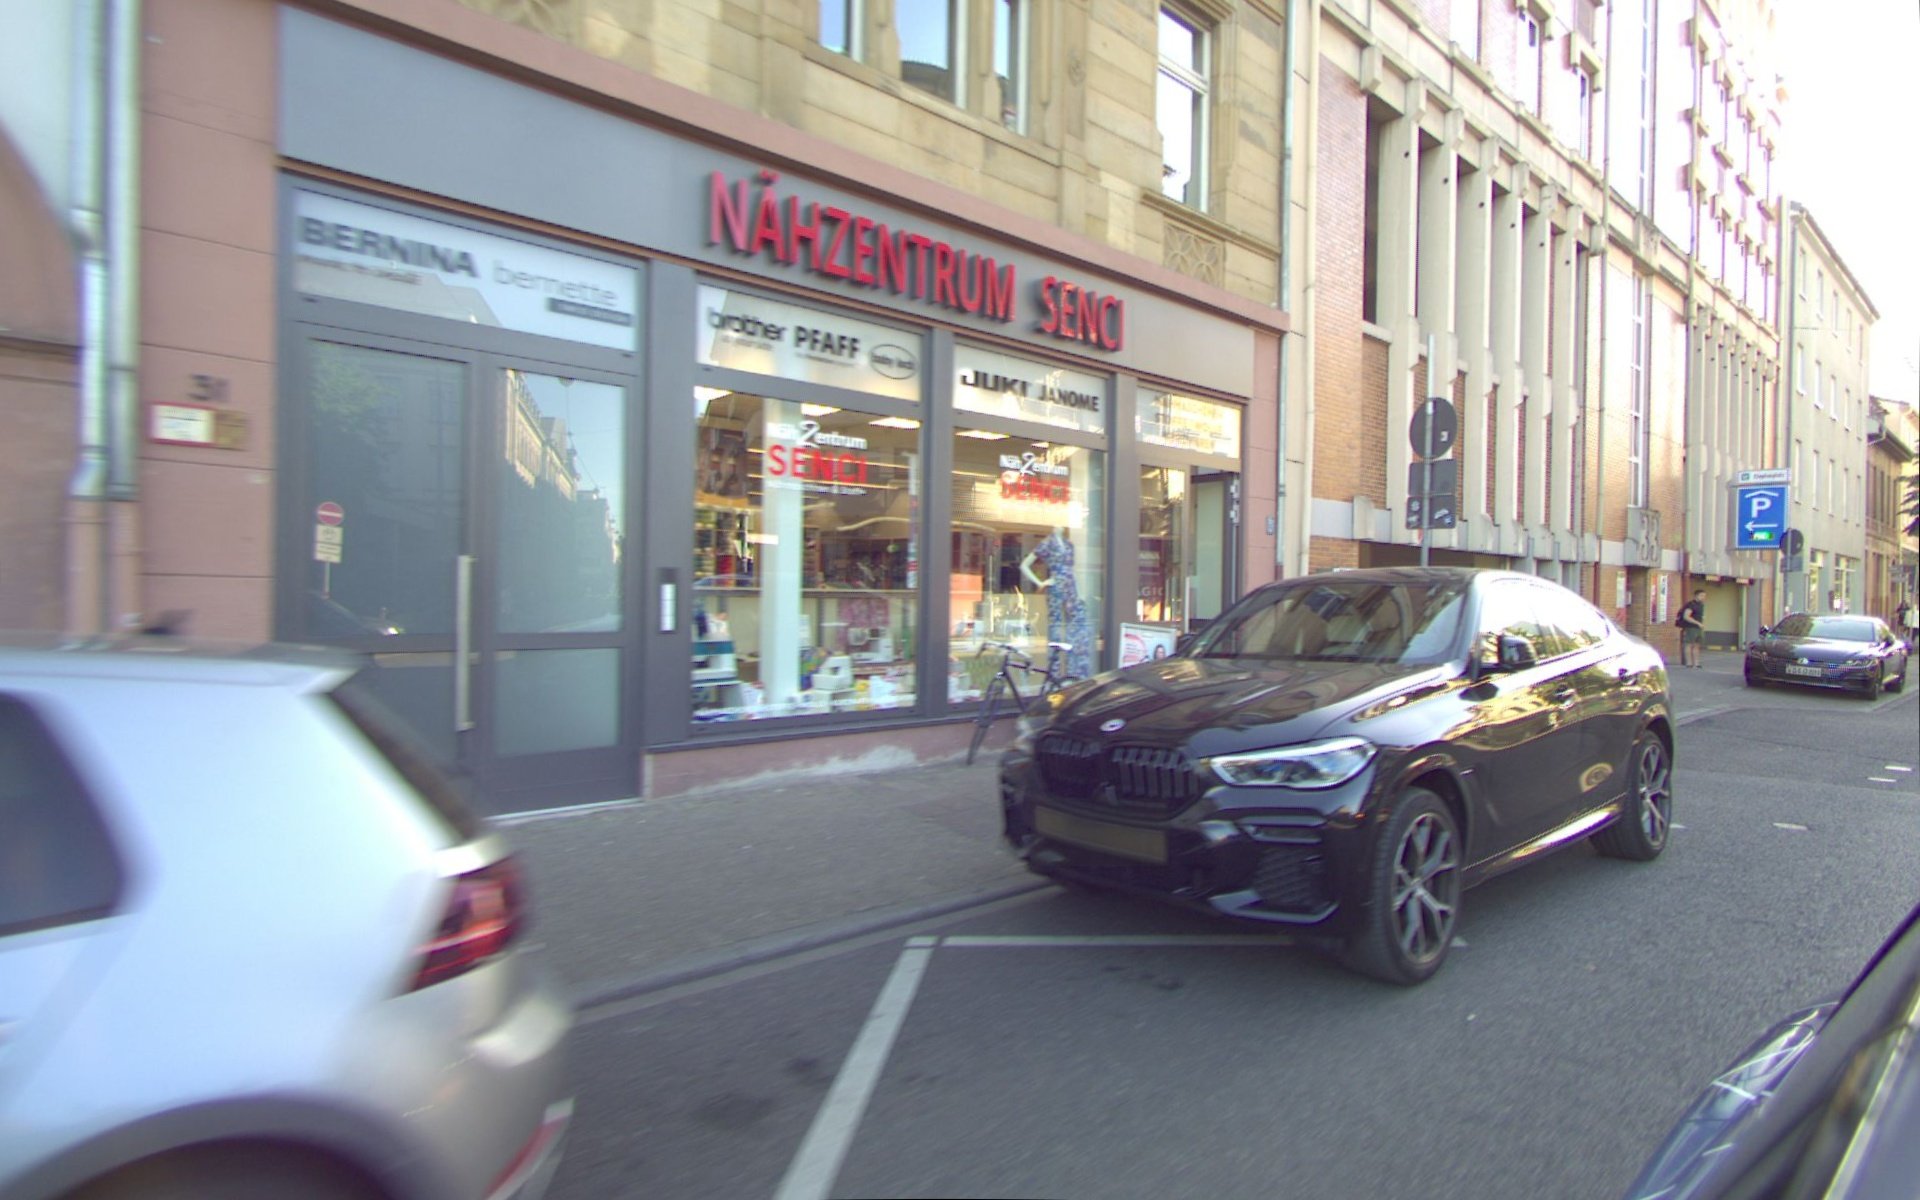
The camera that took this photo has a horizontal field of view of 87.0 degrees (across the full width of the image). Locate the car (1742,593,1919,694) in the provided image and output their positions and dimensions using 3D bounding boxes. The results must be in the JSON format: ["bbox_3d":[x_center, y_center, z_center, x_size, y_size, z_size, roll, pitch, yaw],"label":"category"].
[{"bbox_3d":[16.366,0.693,18.791,4.877,1.496,1.922,0,5,-41],"label":"car"}]

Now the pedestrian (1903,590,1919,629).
[{"bbox_3d":[44.092,0.438,46.731,0.757,1.786,0.624,0,3,-40],"label":"pedestrian"}]

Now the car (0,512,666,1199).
[{"bbox_3d":[-2.694,0.642,1.247,4.111,1.506,1.842,0,0,-41],"label":"car"}]

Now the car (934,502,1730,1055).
[{"bbox_3d":[2.316,0.564,5.498,4.738,1.747,1.977,0,0,-40],"label":"car"}]

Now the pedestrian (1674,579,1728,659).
[{"bbox_3d":[16.055,0.398,21.931,0.874,1.655,0.693,0,3,-42],"label":"pedestrian"}]

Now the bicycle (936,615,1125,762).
[{"bbox_3d":[0.648,0.701,8.670,1.908,1.098,0.358,0,3,-42],"label":"bicycle"}]
